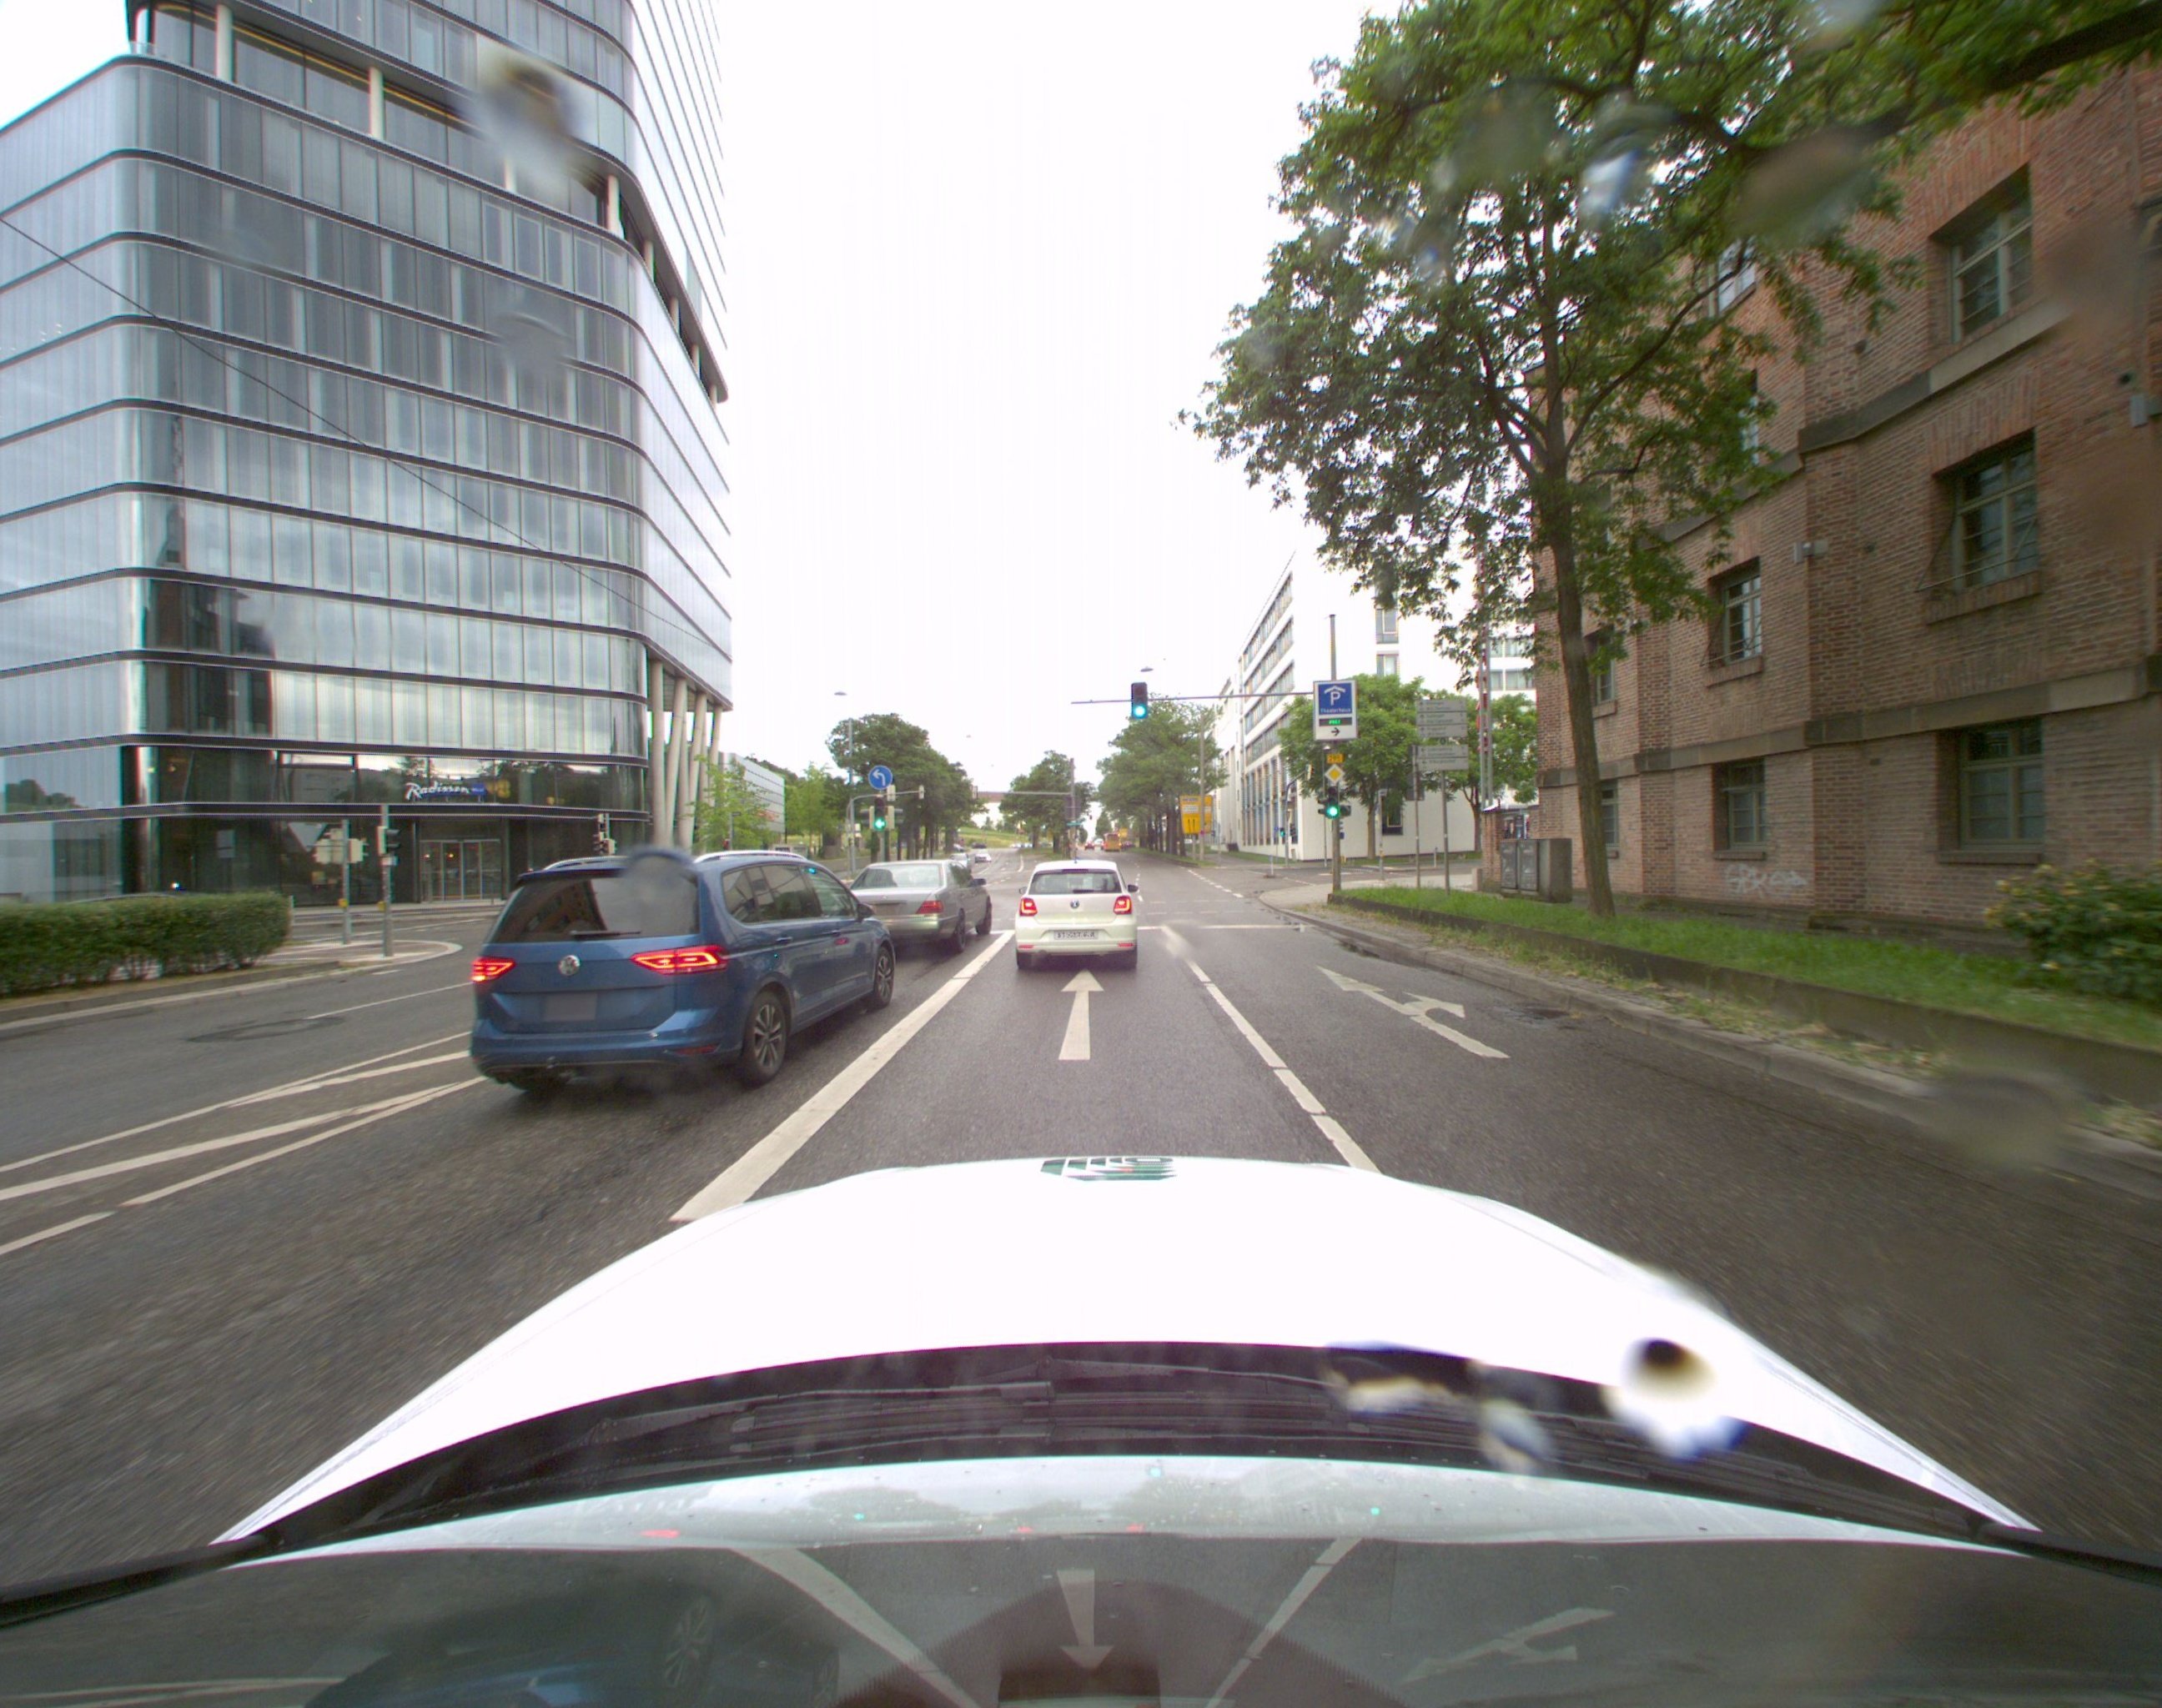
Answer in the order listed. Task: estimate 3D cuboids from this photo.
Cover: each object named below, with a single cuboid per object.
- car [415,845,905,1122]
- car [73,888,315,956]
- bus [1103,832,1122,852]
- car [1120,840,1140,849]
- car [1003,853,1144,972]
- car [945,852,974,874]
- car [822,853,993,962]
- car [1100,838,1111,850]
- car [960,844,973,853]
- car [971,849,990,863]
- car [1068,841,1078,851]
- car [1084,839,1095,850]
[{"bbox_3d":[-2.973,0.770,6.953,1.765,1.596,4.201,-2,0,3],"label":"car"},{"bbox_3d":[-25.768,1.922,23.880,4.373,1.510,1.845,-3,1,-19],"label":"car"},{"bbox_3d":[5.451,-2.112,141.708,2.819,3.266,9.998,-2,0,0],"label":"bus"},{"bbox_3d":[9.319,-1.808,153.814,1.679,1.515,3.850,-2,0,45],"label":"car"},{"bbox_3d":[-0.059,0.743,12.454,1.788,1.502,4.001,-1,0,1],"label":"car"},{"bbox_3d":[-9.211,0.660,61.874,1.746,1.520,3.813,-3,1,-3],"label":"car"},{"bbox_3d":[-2.756,0.784,13.907,1.839,1.510,4.051,-2,0,2],"label":"car"},{"bbox_3d":[4.696,-1.887,155.024,1.987,2.013,3.999,-2,0,0],"label":"car"},{"bbox_3d":[-21.540,-1.084,153.890,1.990,1.615,5.114,-3,1,-4],"label":"car"},{"bbox_3d":[-11.742,0.192,95.298,1.810,1.411,4.651,-3,1,-3],"label":"car"},{"bbox_3d":[-1.499,-1.519,155.929,1.789,1.741,3.998,-2,0,-1],"label":"car"},{"bbox_3d":[1.653,-1.847,154.214,1.987,2.013,3.999,-2,0,0],"label":"car"}]
